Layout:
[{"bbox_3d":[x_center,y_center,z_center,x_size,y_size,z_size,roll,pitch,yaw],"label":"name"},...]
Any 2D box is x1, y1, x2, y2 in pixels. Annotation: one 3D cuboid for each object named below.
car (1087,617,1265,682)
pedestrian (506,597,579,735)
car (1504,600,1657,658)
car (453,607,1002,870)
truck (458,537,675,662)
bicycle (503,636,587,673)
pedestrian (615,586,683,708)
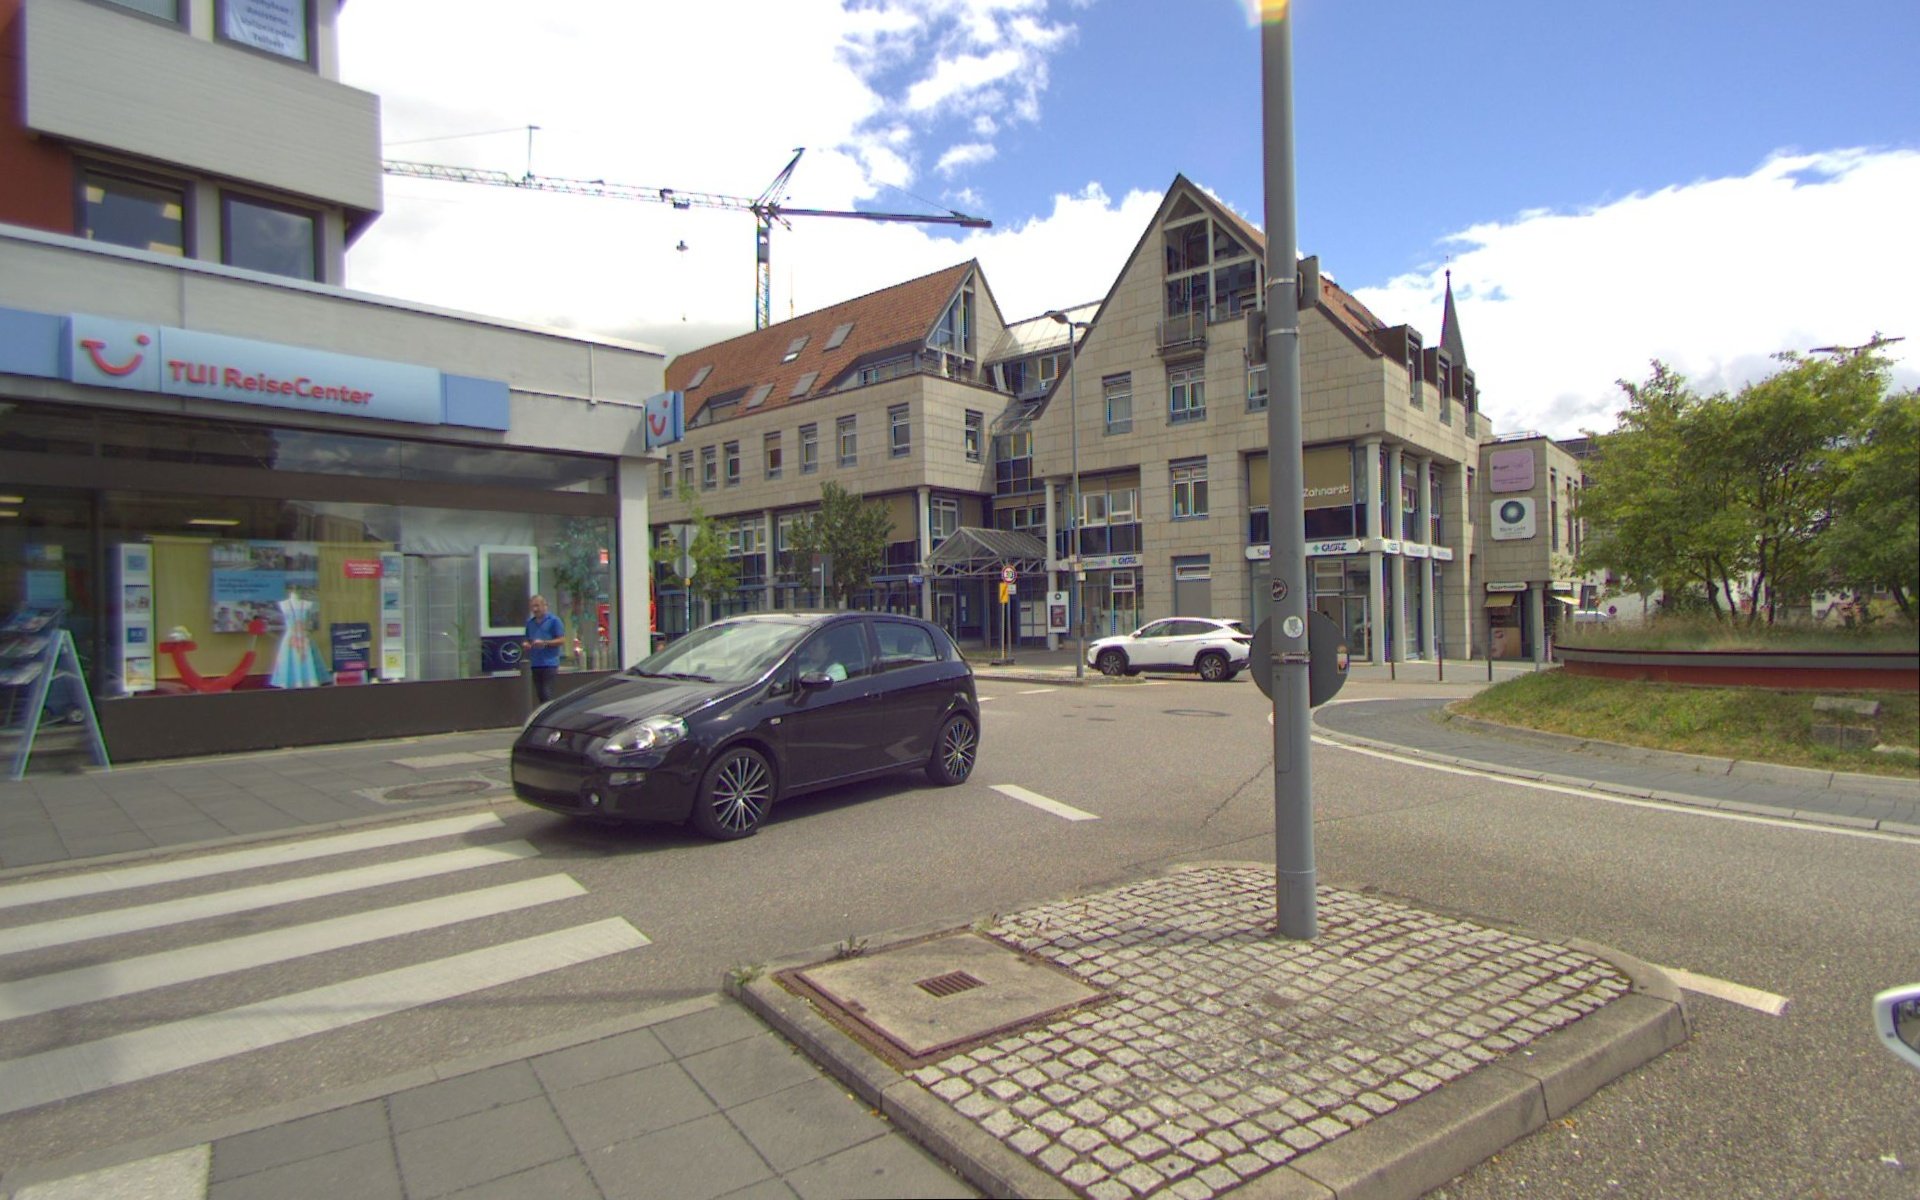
[{"bbox_3d":[5.725,1.273,26.618,4.293,1.601,1.862,0,-2,25],"label":"car"},{"bbox_3d":[-5.083,0.789,12.253,0.557,1.625,0.606,0,-1,19],"label":"pedestrian"},{"bbox_3d":[30.431,1.408,49.528,6.187,2.593,2.205,1,-3,26],"label":"car"},{"bbox_3d":[-1.433,0.817,7.715,1.674,1.438,4.109,0,-1,32],"label":"car"},{"bbox_3d":[-14.847,0.086,37.297,10.438,4.081,2.953,-1,-2,41],"label":"truck"},{"bbox_3d":[-11.219,1.464,27.233,2.052,0.958,0.515,3,-2,-44],"label":"bicycle"},{"bbox_3d":[-5.005,0.745,16.168,0.670,1.900,0.803,0,-1,37],"label":"pedestrian"}]
